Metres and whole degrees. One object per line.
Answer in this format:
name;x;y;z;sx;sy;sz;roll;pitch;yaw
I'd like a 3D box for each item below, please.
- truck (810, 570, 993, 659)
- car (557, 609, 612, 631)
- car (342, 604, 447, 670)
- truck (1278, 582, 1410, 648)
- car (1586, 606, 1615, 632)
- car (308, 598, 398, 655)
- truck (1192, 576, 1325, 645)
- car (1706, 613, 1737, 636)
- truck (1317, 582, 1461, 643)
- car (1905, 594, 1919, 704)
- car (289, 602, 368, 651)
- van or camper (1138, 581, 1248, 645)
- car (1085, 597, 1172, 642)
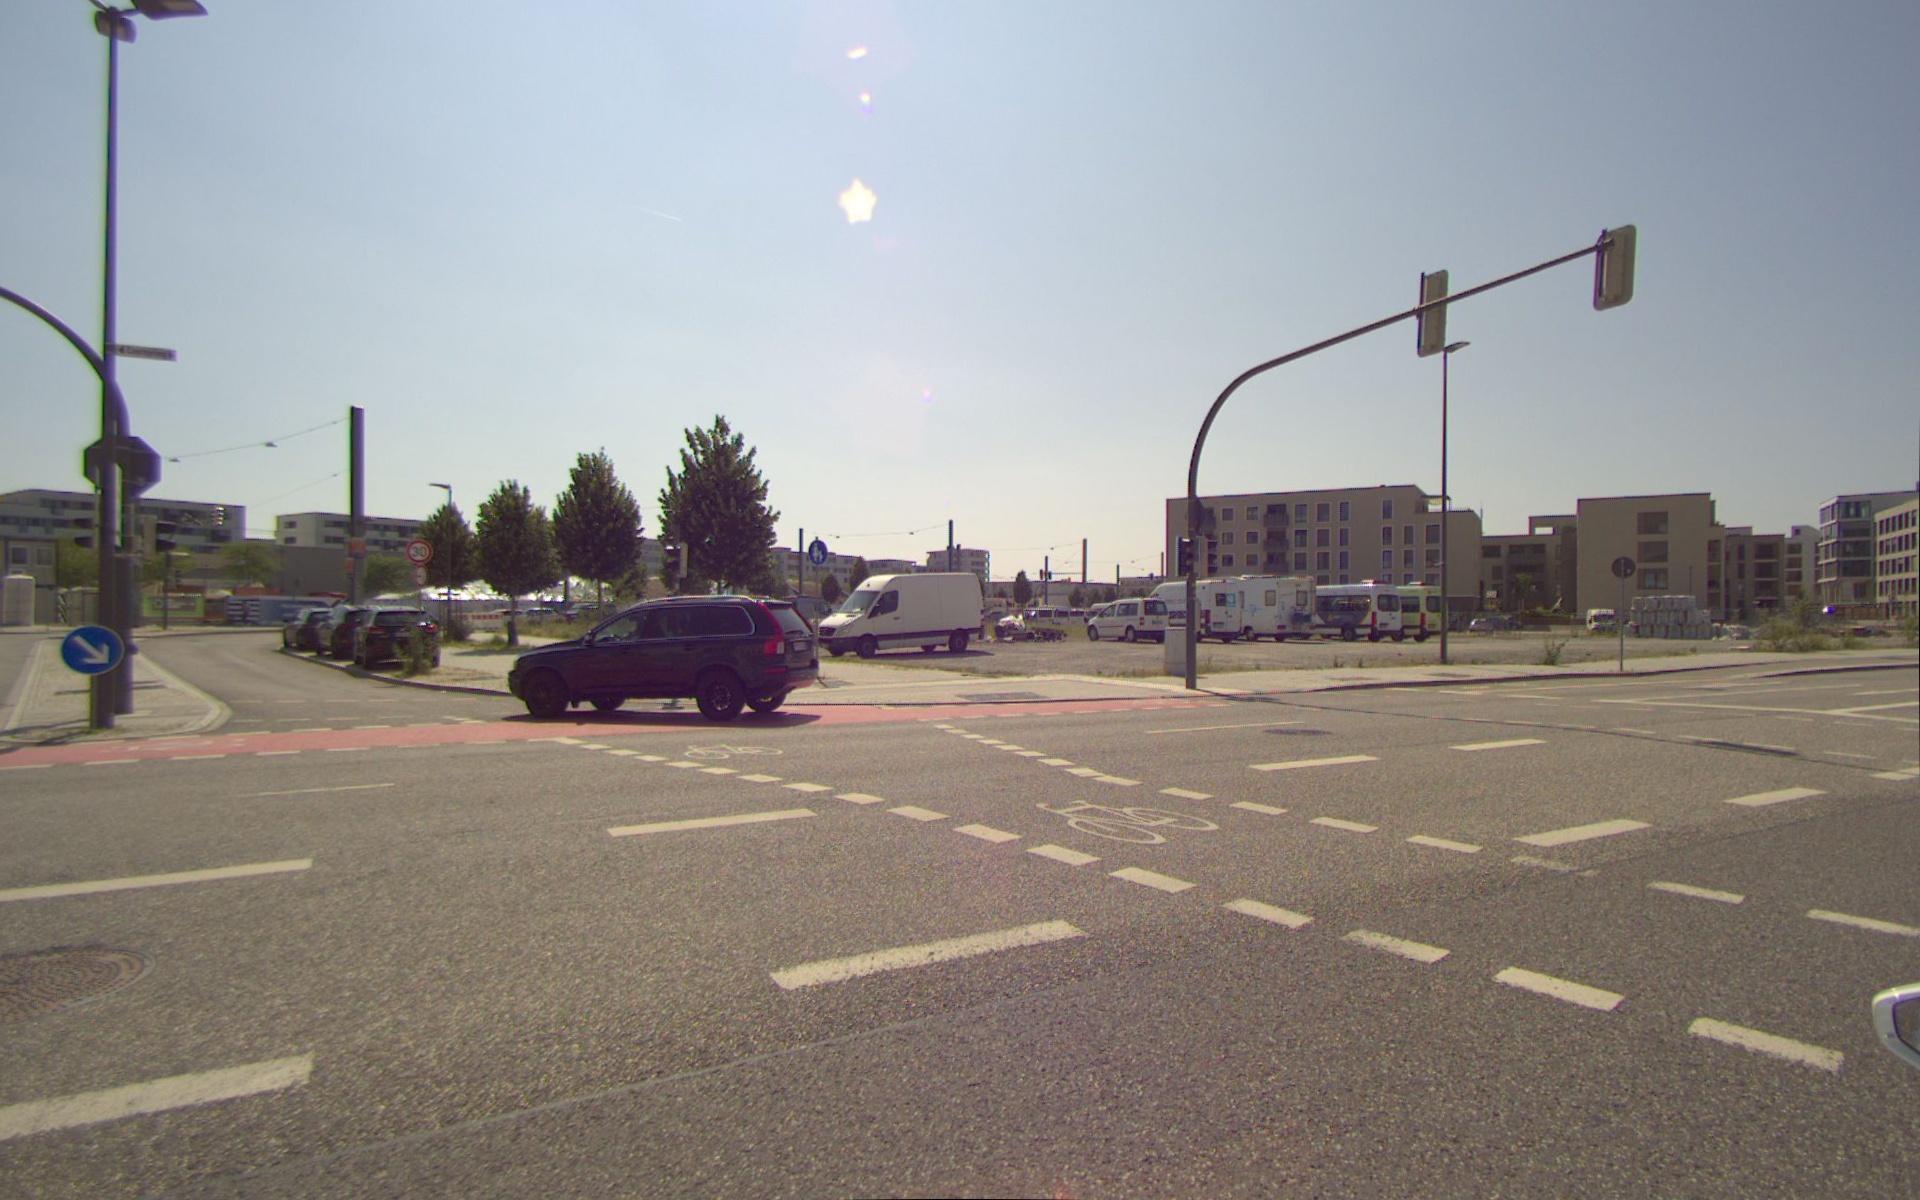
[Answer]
truck;-1.847;0.494;33.174;5.893;2.690;2.150;1;-1;-38
car;-31.176;1.614;83.470;1.791;1.710;3.992;2;1;30
car;-15.916;0.969;28.200;1.866;1.662;3.953;1;0;-40
truck;18.479;0.654;48.681;2.535;2.862;5.818;2;1;-24
car;58.932;1.698;92.483;1.964;2.271;3.993;1;1;29
car;-19.503;0.810;32.182;1.866;1.662;3.953;1;0;-40
truck;13.849;0.432;47.143;2.535;2.940;6.127;2;1;-24
car;66.509;2.130;87.816;1.967;1.873;3.987;1;1;35
truck;21.392;0.586;50.485;2.567;2.863;6.616;1;0;-25
car;18.165;0.830;16.905;4.597;1.813;1.931;0;1;-29
car;-23.062;0.916;36.633;1.865;1.551;3.856;-2;2;-40
van or camper;10.311;0.510;44.807;2.229;2.697;4.884;0;1;-25
car;7.165;0.809;42.987;1.637;1.782;3.848;0;1;-29
